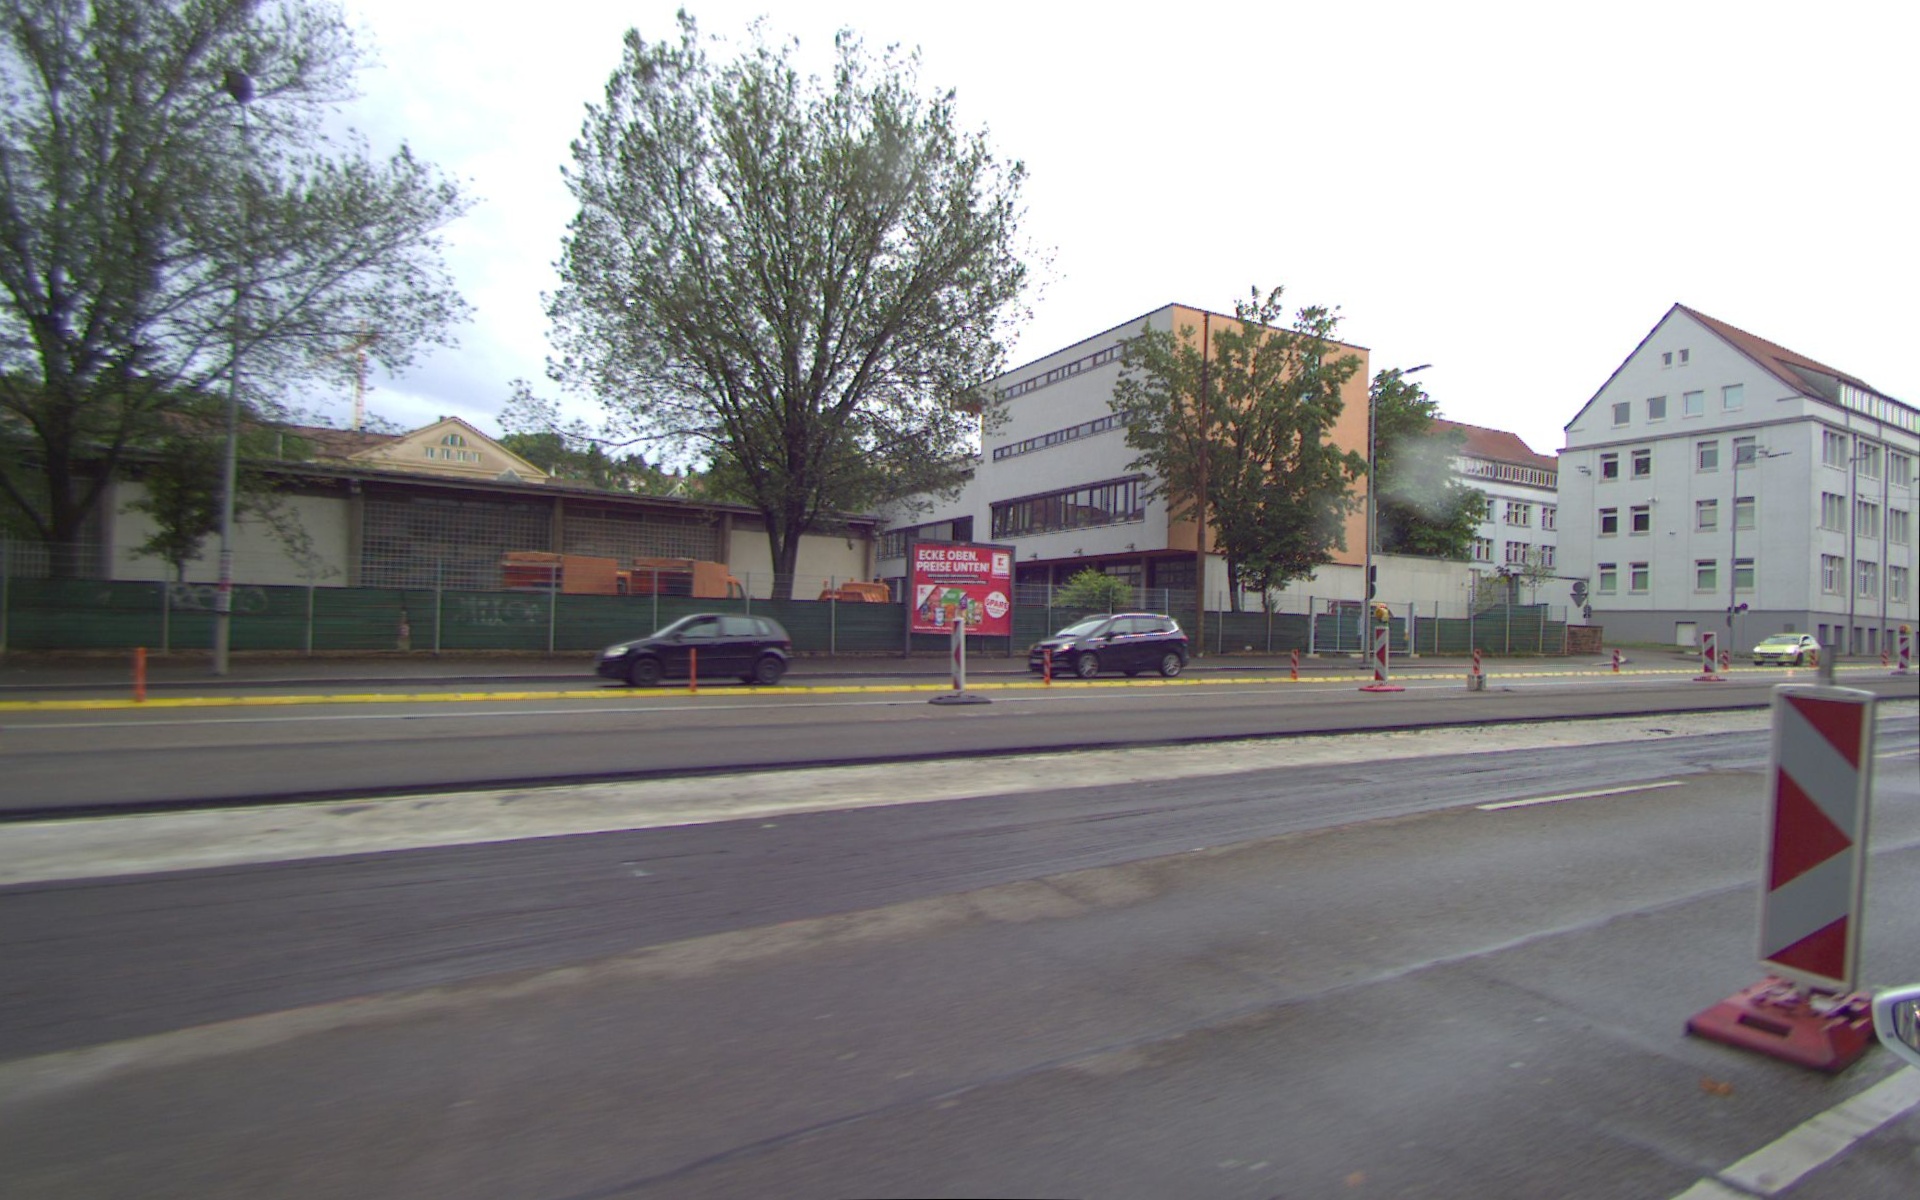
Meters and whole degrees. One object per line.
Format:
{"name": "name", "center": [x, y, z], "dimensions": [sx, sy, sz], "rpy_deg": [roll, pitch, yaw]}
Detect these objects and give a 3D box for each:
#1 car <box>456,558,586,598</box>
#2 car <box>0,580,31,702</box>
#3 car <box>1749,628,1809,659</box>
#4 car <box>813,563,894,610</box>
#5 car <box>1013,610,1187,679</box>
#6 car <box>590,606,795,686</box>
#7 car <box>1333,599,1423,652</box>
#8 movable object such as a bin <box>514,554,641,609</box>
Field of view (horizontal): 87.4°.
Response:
{"name": "car", "center": [-13.834, -0.661, 31.938], "dimensions": [1.718, 1.076, 4.026], "rpy_deg": [1, -1, 13]}
{"name": "car", "center": [-14.860, 0.504, 12.603], "dimensions": [4.313, 1.640, 1.851], "rpy_deg": [2, -3, -30]}
{"name": "car", "center": [38.004, 2.012, 46.592], "dimensions": [3.776, 1.386, 1.540], "rpy_deg": [2, -3, -41]}
{"name": "car", "center": [-3.807, -0.443, 36.508], "dimensions": [1.959, 1.548, 4.026], "rpy_deg": [1, -1, 8]}
{"name": "car", "center": [3.667, 1.178, 26.118], "dimensions": [4.278, 1.651, 1.851], "rpy_deg": [2, -3, -30]}
{"name": "car", "center": [-5.421, 0.946, 20.424], "dimensions": [3.688, 1.495, 1.851], "rpy_deg": [2, -3, -30]}
{"name": "car", "center": [18.236, 1.117, 43.812], "dimensions": [3.954, 2.199, 1.602], "rpy_deg": [1, -1, -31]}
{"name": "movable object such as a bin", "center": [-11.870, -0.523, 31.454], "dimensions": [1.718, 1.548, 4.026], "rpy_deg": [1, -1, 13]}
